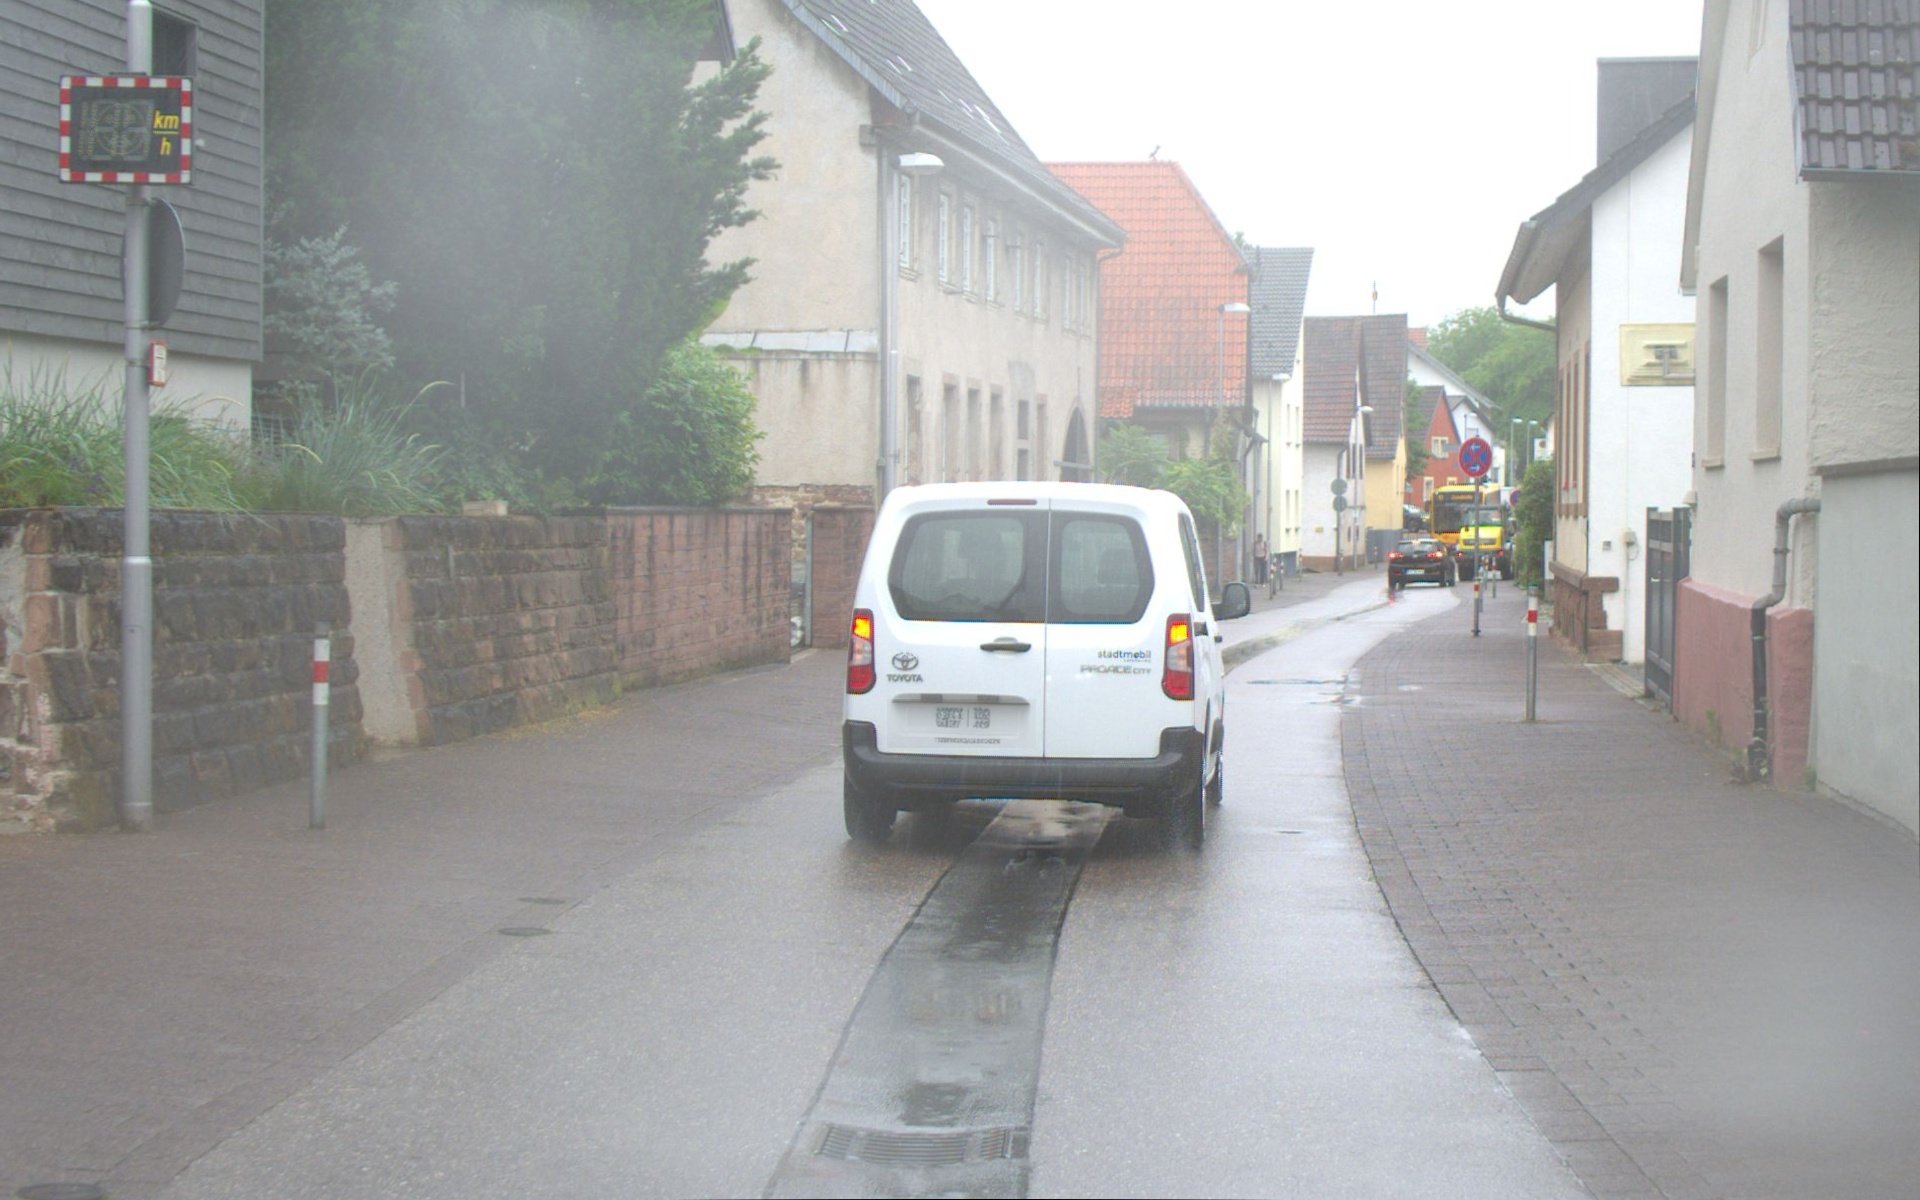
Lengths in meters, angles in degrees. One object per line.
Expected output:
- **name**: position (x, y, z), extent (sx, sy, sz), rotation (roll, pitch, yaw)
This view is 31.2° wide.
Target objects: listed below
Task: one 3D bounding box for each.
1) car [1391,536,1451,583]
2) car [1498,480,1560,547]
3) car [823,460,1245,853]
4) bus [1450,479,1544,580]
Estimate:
- **car**: position (13.959, -1.219, 104.054), extent (1.562, 1.367, 3.583), rotation (2, 1, 11)
- **car**: position (18.155, -2.751, 109.587), extent (1.828, 2.007, 3.692), rotation (2, 1, 10)
- **car**: position (0.509, 0.242, 18.181), extent (1.795, 1.812, 4.100), rotation (1, 1, 7)
- **bus**: position (18.237, -2.333, 116.444), extent (2.794, 3.169, 8.174), rotation (3, 1, 10)
